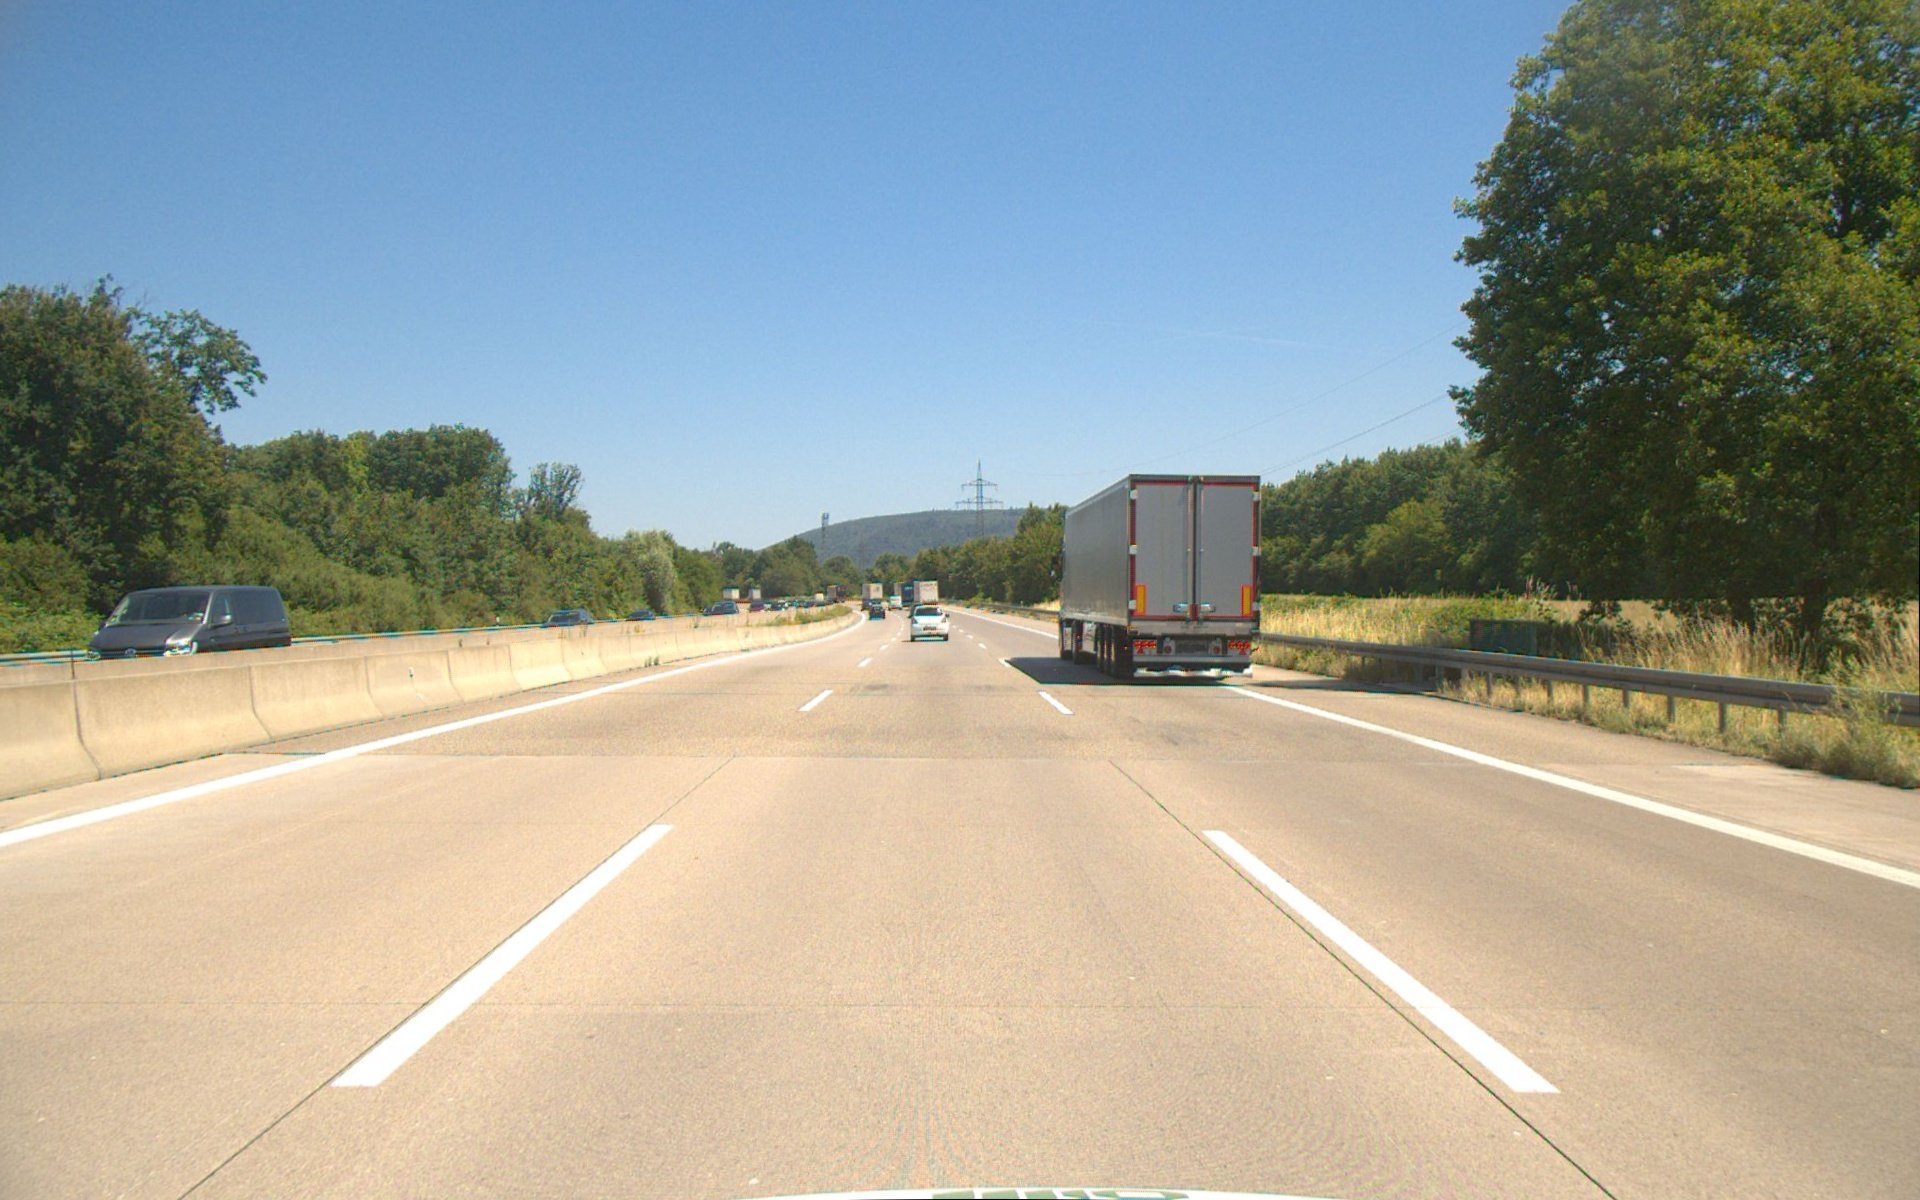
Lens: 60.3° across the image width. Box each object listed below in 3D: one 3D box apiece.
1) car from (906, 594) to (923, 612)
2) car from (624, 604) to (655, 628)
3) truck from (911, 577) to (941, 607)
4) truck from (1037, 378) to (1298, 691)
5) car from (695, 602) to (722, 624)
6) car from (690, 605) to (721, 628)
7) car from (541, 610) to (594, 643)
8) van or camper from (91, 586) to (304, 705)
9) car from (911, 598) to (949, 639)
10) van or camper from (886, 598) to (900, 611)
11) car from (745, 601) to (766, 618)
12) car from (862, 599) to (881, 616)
[{"bbox_3d":[-4.887,0.299,177.368,1.579,1.755,3.570,-4,0,-4],"label":"car"},{"bbox_3d":[-23.424,1.176,121.027,1.669,1.687,4.088,-1,-1,-3],"label":"car"},{"bbox_3d":[-4.955,-1.185,237.281,3.745,3.956,14.145,-4,0,-3],"label":"truck"},{"bbox_3d":[4.338,-1.320,40.229,3.505,5.888,18.241,0,0,-2],"label":"truck"},{"bbox_3d":[-19.766,0.996,130.083,1.669,1.687,4.404,-1,0,-3],"label":"car"},{"bbox_3d":[-16.861,1.074,109.527,1.528,1.443,3.522,-1,0,-1],"label":"car"},{"bbox_3d":[-17.963,1.213,75.815,1.598,1.443,3.522,-1,0,0],"label":"car"},{"bbox_3d":[-13.294,0.747,29.151,1.810,1.915,4.415,-1,0,-2],"label":"van or camper"},{"bbox_3d":[-1.301,0.789,72.532,1.608,1.691,3.359,1,0,-1],"label":"car"},{"bbox_3d":[-9.920,0.652,245.462,1.831,1.869,3.996,-4,0,-5],"label":"van or camper"},{"bbox_3d":[-21.477,1.037,174.003,1.763,1.699,4.216,-2,0,-2],"label":"car"},{"bbox_3d":[-9.551,0.760,178.170,1.982,1.730,3.997,1,0,-4],"label":"car"}]
